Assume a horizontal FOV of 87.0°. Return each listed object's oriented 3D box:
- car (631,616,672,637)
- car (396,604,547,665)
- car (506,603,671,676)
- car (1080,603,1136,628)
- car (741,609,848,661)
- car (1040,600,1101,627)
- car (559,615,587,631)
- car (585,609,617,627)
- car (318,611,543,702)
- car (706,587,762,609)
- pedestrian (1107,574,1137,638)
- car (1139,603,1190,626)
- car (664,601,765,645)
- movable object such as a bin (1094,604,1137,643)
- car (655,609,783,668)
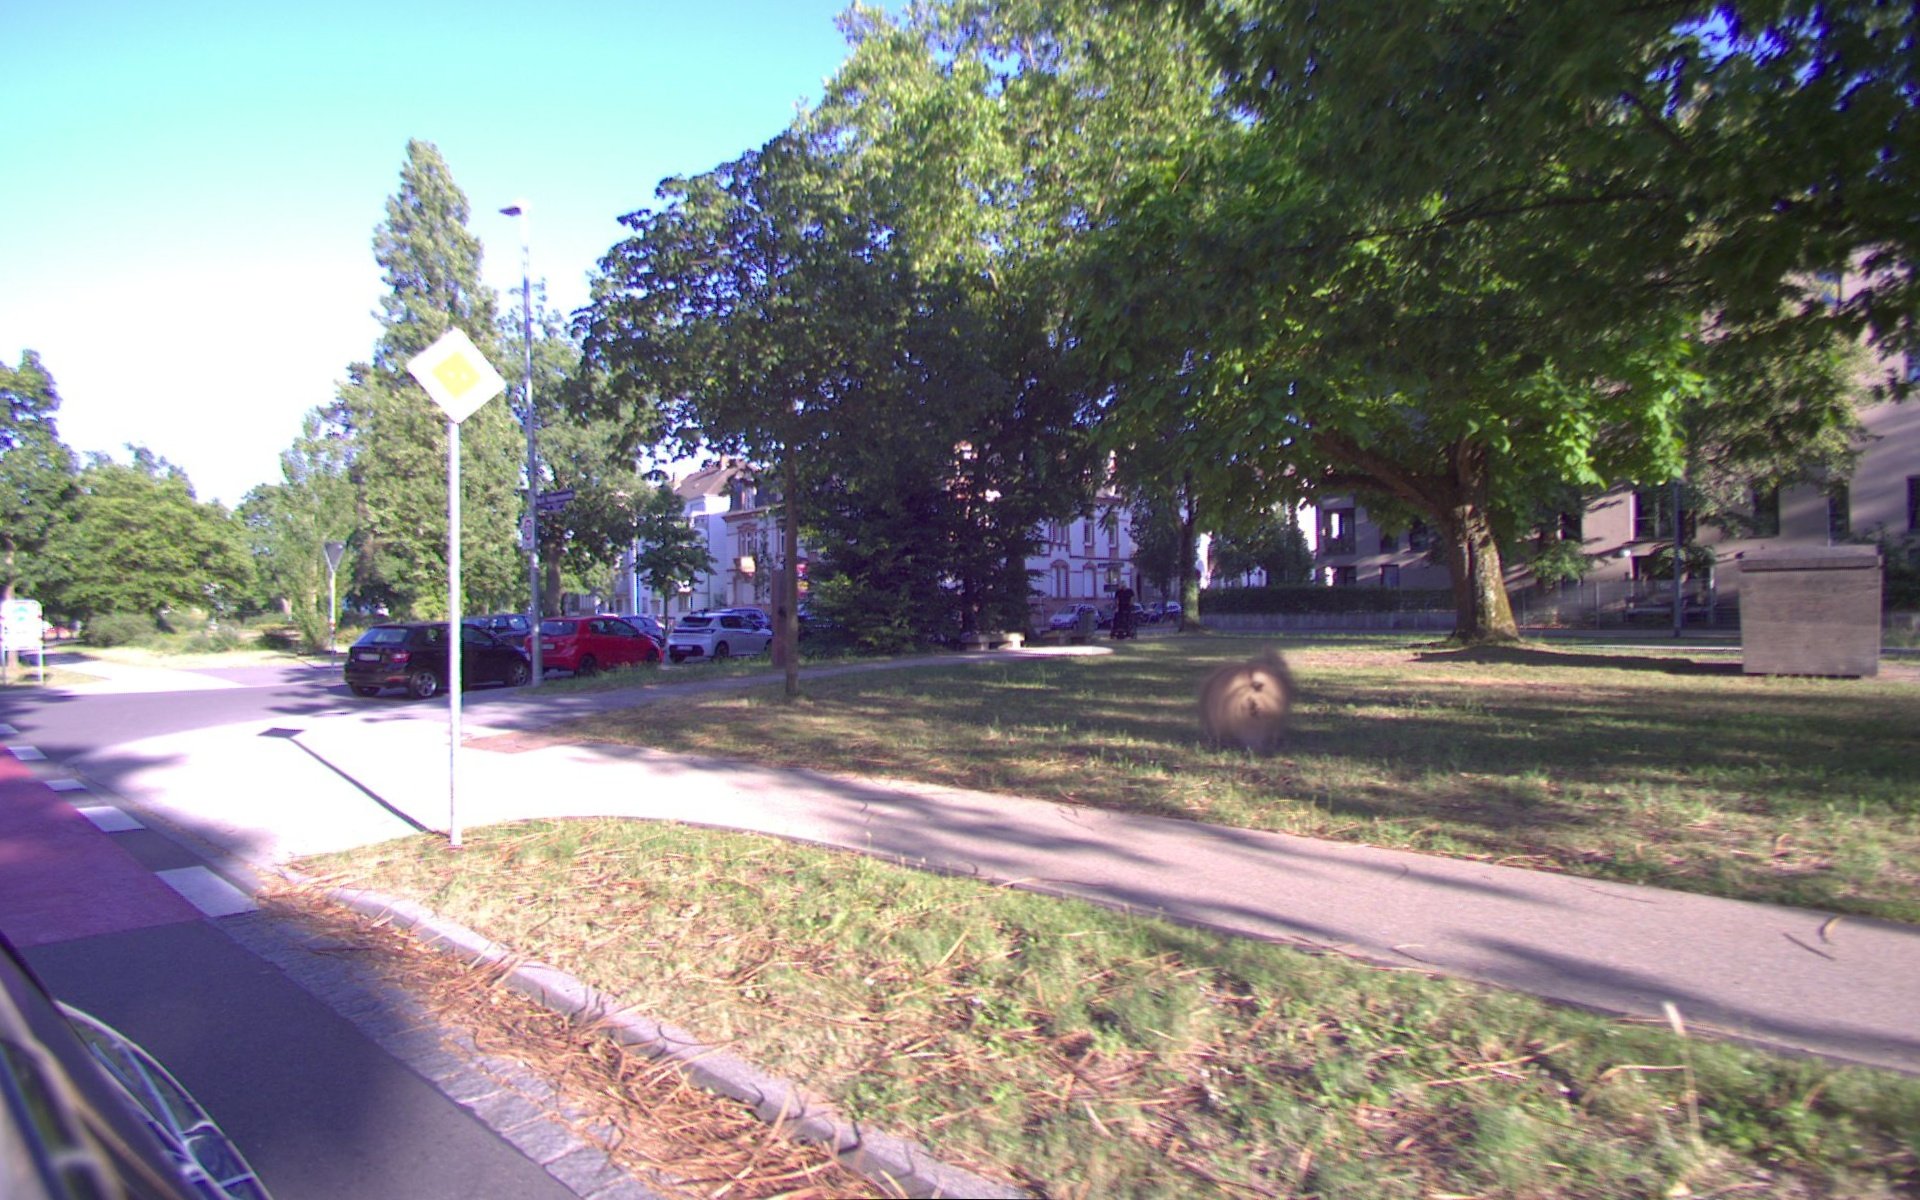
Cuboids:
[{"bbox_3d":[-26.294,2.208,86.240,1.860,1.586,4.609,0,1,-38],"label":"car"},{"bbox_3d":[-13.936,0.946,29.092,1.824,1.643,3.825,-1,-1,17],"label":"car"},{"bbox_3d":[-9.096,0.902,25.157,1.874,1.586,3.979,1,0,16],"label":"car"},{"bbox_3d":[9.873,0.994,67.347,1.890,1.586,3.946,1,1,41],"label":"car"},{"bbox_3d":[-5.604,1.151,34.707,1.877,1.586,3.972,1,0,21],"label":"car"},{"bbox_3d":[6.914,0.833,63.233,1.890,1.586,3.946,1,1,41],"label":"car"},{"bbox_3d":[-40.815,2.417,106.689,1.859,1.586,4.613,0,1,-31],"label":"car"},{"bbox_3d":[-34.803,1.724,98.109,1.859,1.586,4.612,0,1,-33],"label":"car"},{"bbox_3d":[-10.675,1.059,20.740,1.874,1.586,3.979,1,0,16],"label":"car"},{"bbox_3d":[-16.632,-0.171,74.357,4.602,1.586,1.863,1,1,45],"label":"car"},{"bbox_3d":[4.453,0.170,27.833,0.667,1.708,0.660,-2,0,18],"label":"pedestrian"},{"bbox_3d":[14.491,1.003,71.679,1.890,1.586,3.946,1,1,41],"label":"car"},{"bbox_3d":[-9.752,0.906,40.527,1.827,1.656,4.246,-1,-1,22],"label":"car"},{"bbox_3d":[4.134,0.613,26.872,0.941,0.997,1.326,-1,-1,17],"label":"movable object such as a bin"},{"bbox_3d":[-7.157,1.094,30.412,1.877,1.586,3.973,1,0,20],"label":"car"}]
